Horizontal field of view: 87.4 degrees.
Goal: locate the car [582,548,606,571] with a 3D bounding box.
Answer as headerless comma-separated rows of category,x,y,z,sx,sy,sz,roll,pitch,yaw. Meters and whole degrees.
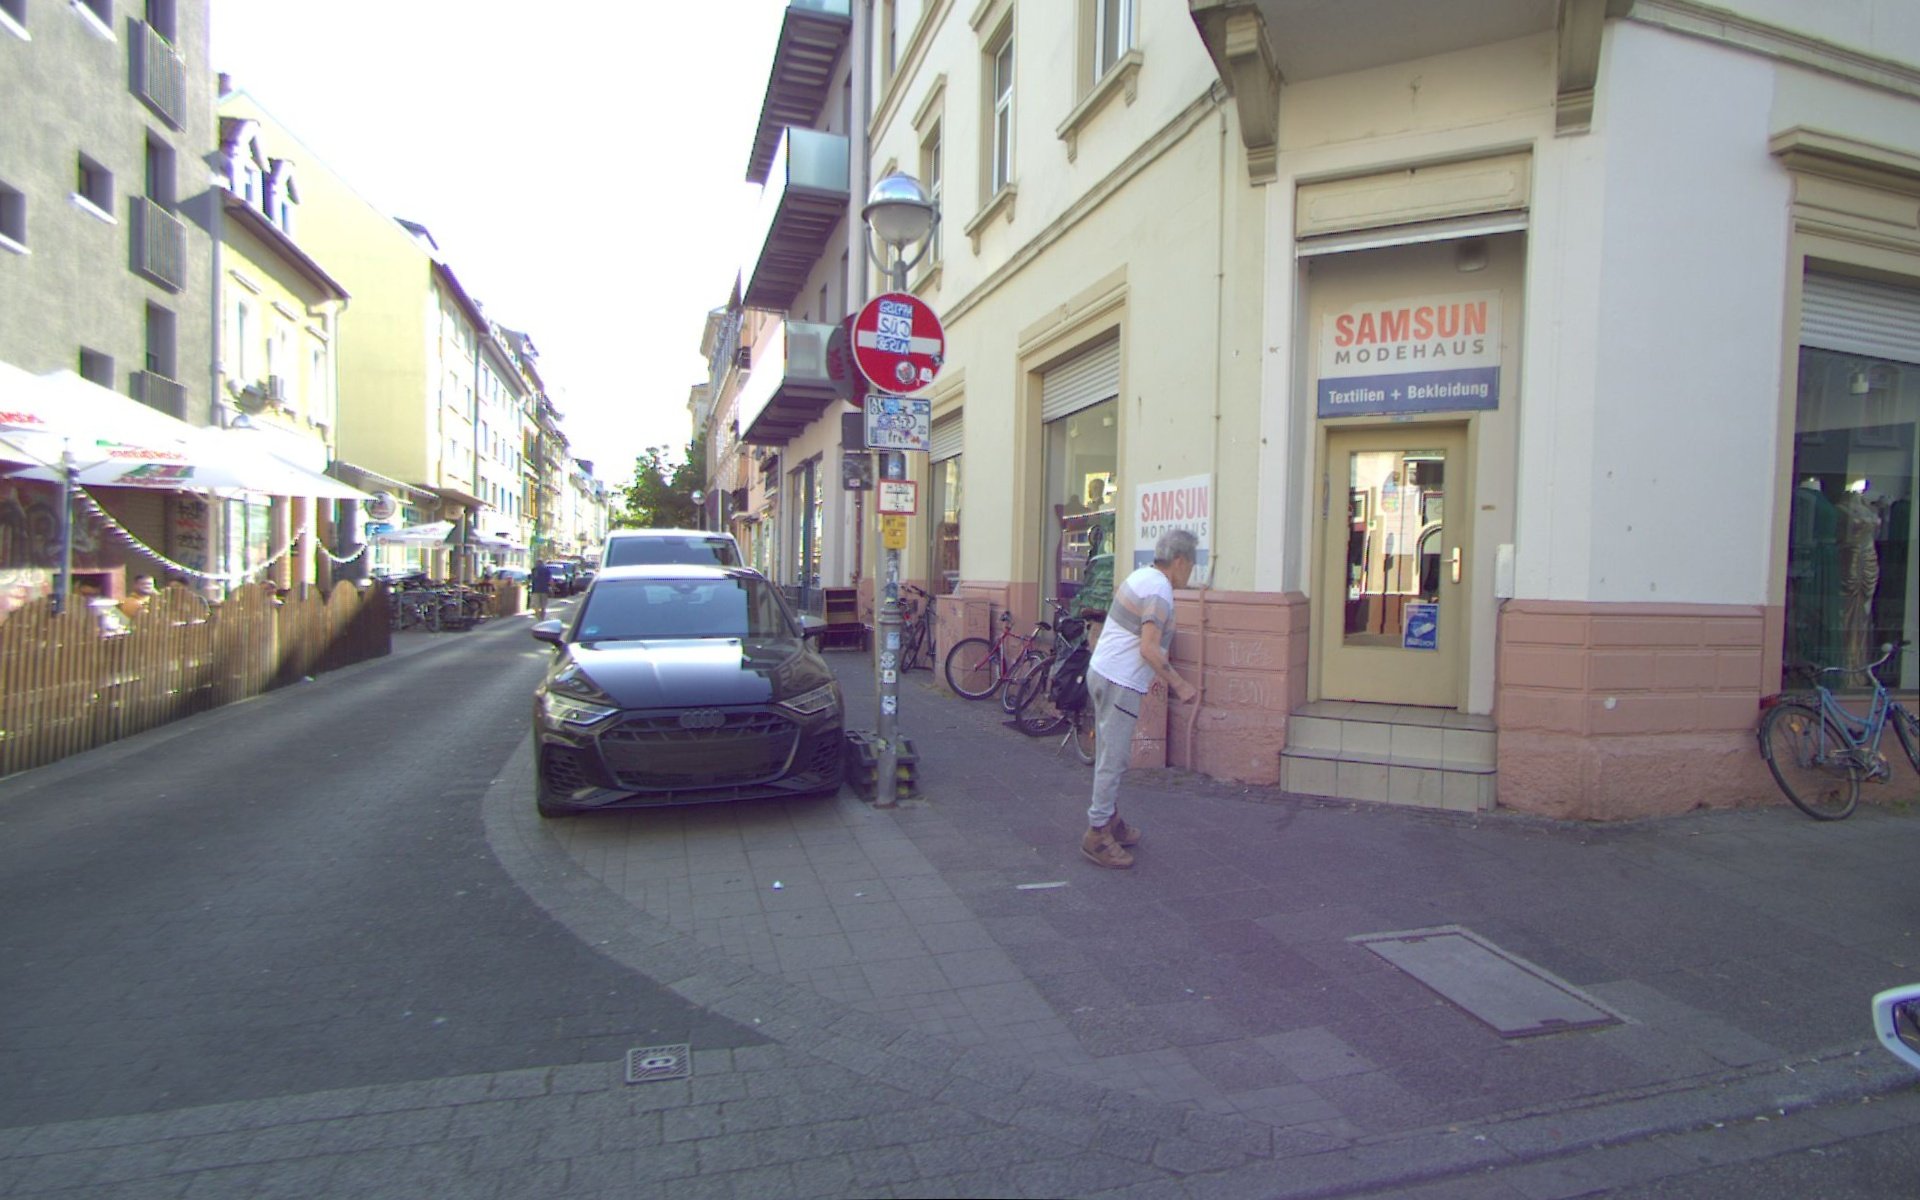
car,-35.467,-3.945,97.394,1.966,2.115,5.478,1,2,-18

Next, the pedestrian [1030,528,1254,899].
pedestrian,0.893,0.514,5.113,0.851,1.725,0.693,-1,6,-17

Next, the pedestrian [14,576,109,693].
pedestrian,-9.438,0.340,10.556,0.648,1.160,0.542,3,2,26

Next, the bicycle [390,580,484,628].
bicycle,-12.689,0.099,24.418,1.895,1.085,0.611,2,2,-13

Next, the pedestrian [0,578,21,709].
pedestrian,-8.957,0.391,8.897,0.668,1.170,0.659,2,2,-8

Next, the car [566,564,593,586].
car,-29.397,-1.976,77.705,1.744,1.597,4.140,1,2,-18

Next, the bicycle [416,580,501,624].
bicycle,-13.215,0.053,26.501,1.895,1.085,0.611,2,2,-13

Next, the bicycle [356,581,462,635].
bicycle,-11.902,0.170,21.736,1.912,1.085,0.605,1,3,-41

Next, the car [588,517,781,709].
car,-3.629,0.056,12.505,1.829,1.875,5.076,1,2,-21

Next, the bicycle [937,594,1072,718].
bicycle,0.407,0.527,10.408,0.604,1.085,1.916,1,2,-23

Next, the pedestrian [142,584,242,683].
pedestrian,-8.837,0.375,11.580,0.666,1.068,0.722,2,2,-13

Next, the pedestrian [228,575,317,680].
pedestrian,-8.854,0.333,12.943,0.710,1.283,0.680,3,2,25

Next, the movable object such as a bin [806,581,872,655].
movable object such as a bin,-2.089,0.285,17.183,0.872,1.162,1.612,2,2,-15

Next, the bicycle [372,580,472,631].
bicycle,-12.189,0.123,22.812,1.895,1.085,0.611,2,2,-13

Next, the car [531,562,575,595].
car,-20.699,-1.121,51.180,1.744,1.591,4.140,1,2,-18

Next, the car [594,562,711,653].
car,-5.583,0.071,17.958,1.733,1.429,3.946,1,2,-21

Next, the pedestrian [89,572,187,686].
pedestrian,-9.735,0.323,11.912,0.602,1.283,0.660,3,2,12

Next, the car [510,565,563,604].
car,-18.270,-0.695,43.490,1.744,1.591,4.140,1,2,-18

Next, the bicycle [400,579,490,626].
bicycle,-12.911,0.068,25.235,1.895,1.085,0.611,2,2,-13

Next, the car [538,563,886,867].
car,-1.949,0.502,7.104,1.733,1.475,4.132,1,2,-21

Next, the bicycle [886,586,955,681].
bicycle,-0.568,0.419,13.651,0.601,1.137,1.923,2,2,-11

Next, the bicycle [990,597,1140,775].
bicycle,0.765,0.604,7.953,0.601,1.164,1.923,2,2,-11

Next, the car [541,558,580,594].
car,-22.166,-1.340,55.828,1.744,1.898,4.140,1,2,-18

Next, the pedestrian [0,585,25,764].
pedestrian,-7.249,0.545,7.036,0.694,1.283,0.848,2,2,-14

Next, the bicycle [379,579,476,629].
bicycle,-12.461,0.082,23.536,1.895,1.085,0.611,2,2,-13

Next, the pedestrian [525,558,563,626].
pedestrian,-10.509,-0.213,25.383,0.815,1.673,0.739,1,2,-20

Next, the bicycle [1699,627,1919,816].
bicycle,5.685,0.746,6.357,1.789,1.036,0.603,2,5,-18

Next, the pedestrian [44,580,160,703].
pedestrian,-8.604,0.391,10.082,0.648,1.160,0.688,3,2,26
